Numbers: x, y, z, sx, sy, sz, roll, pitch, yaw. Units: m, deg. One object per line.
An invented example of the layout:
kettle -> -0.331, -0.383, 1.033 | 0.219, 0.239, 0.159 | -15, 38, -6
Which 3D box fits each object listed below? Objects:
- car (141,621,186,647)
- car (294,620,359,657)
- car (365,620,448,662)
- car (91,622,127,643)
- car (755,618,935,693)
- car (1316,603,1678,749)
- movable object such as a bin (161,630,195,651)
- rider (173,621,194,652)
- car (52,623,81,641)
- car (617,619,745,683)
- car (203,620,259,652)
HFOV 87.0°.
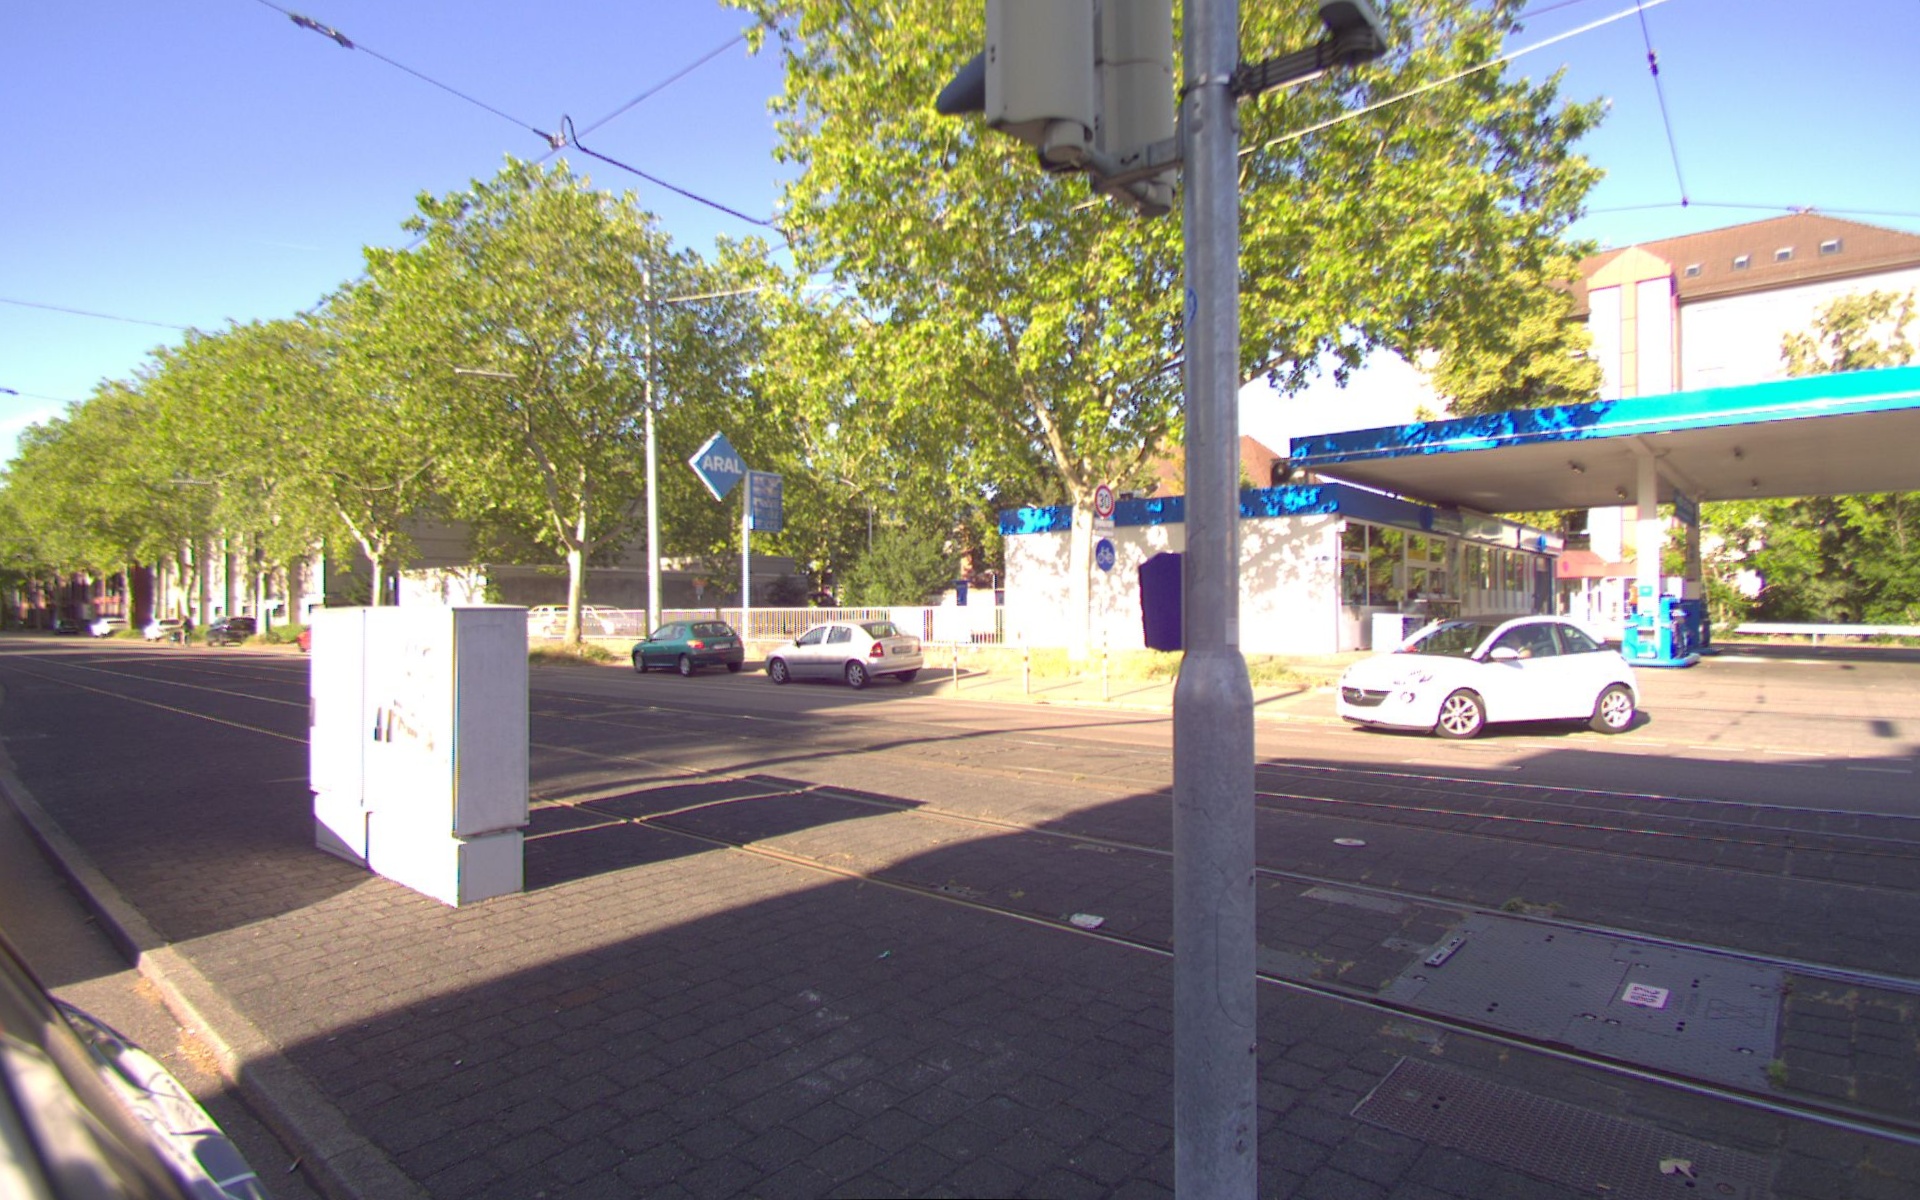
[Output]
car -> -53.697, 2.294, 68.227 | 3.878, 1.552, 1.731 | -1, 2, 43
car -> -28.794, 1.717, 45.985 | 3.377, 1.506, 1.639 | -1, 2, 43
car -> -21.865, 1.572, 39.918 | 3.769, 1.455, 1.701 | -1, 2, 43
car -> -66.785, 2.511, 79.393 | 3.731, 1.471, 1.639 | -1, 2, 43
car -> -2.621, 1.190, 22.585 | 3.987, 1.376, 1.666 | -2, 3, 41
car -> 6.754, 0.866, 12.820 | 3.869, 1.446, 1.749 | -3, 1, -16
movable object such as a bin -> -42.807, 2.198, 55.368 | 1.834, 1.111, 1.162 | -1, 0, 42
rider -> -41.813, 1.951, 54.485 | 1.106, 1.660, 0.716 | -1, 0, 42
car -> -85.034, 3.025, 96.311 | 3.731, 1.471, 1.639 | -1, 2, 43
car -> -7.472, 1.302, 26.961 | 3.606, 1.455, 1.598 | -1, 2, 43
car -> -40.707, 1.995, 56.496 | 3.878, 1.603, 1.731 | -1, 2, 43
